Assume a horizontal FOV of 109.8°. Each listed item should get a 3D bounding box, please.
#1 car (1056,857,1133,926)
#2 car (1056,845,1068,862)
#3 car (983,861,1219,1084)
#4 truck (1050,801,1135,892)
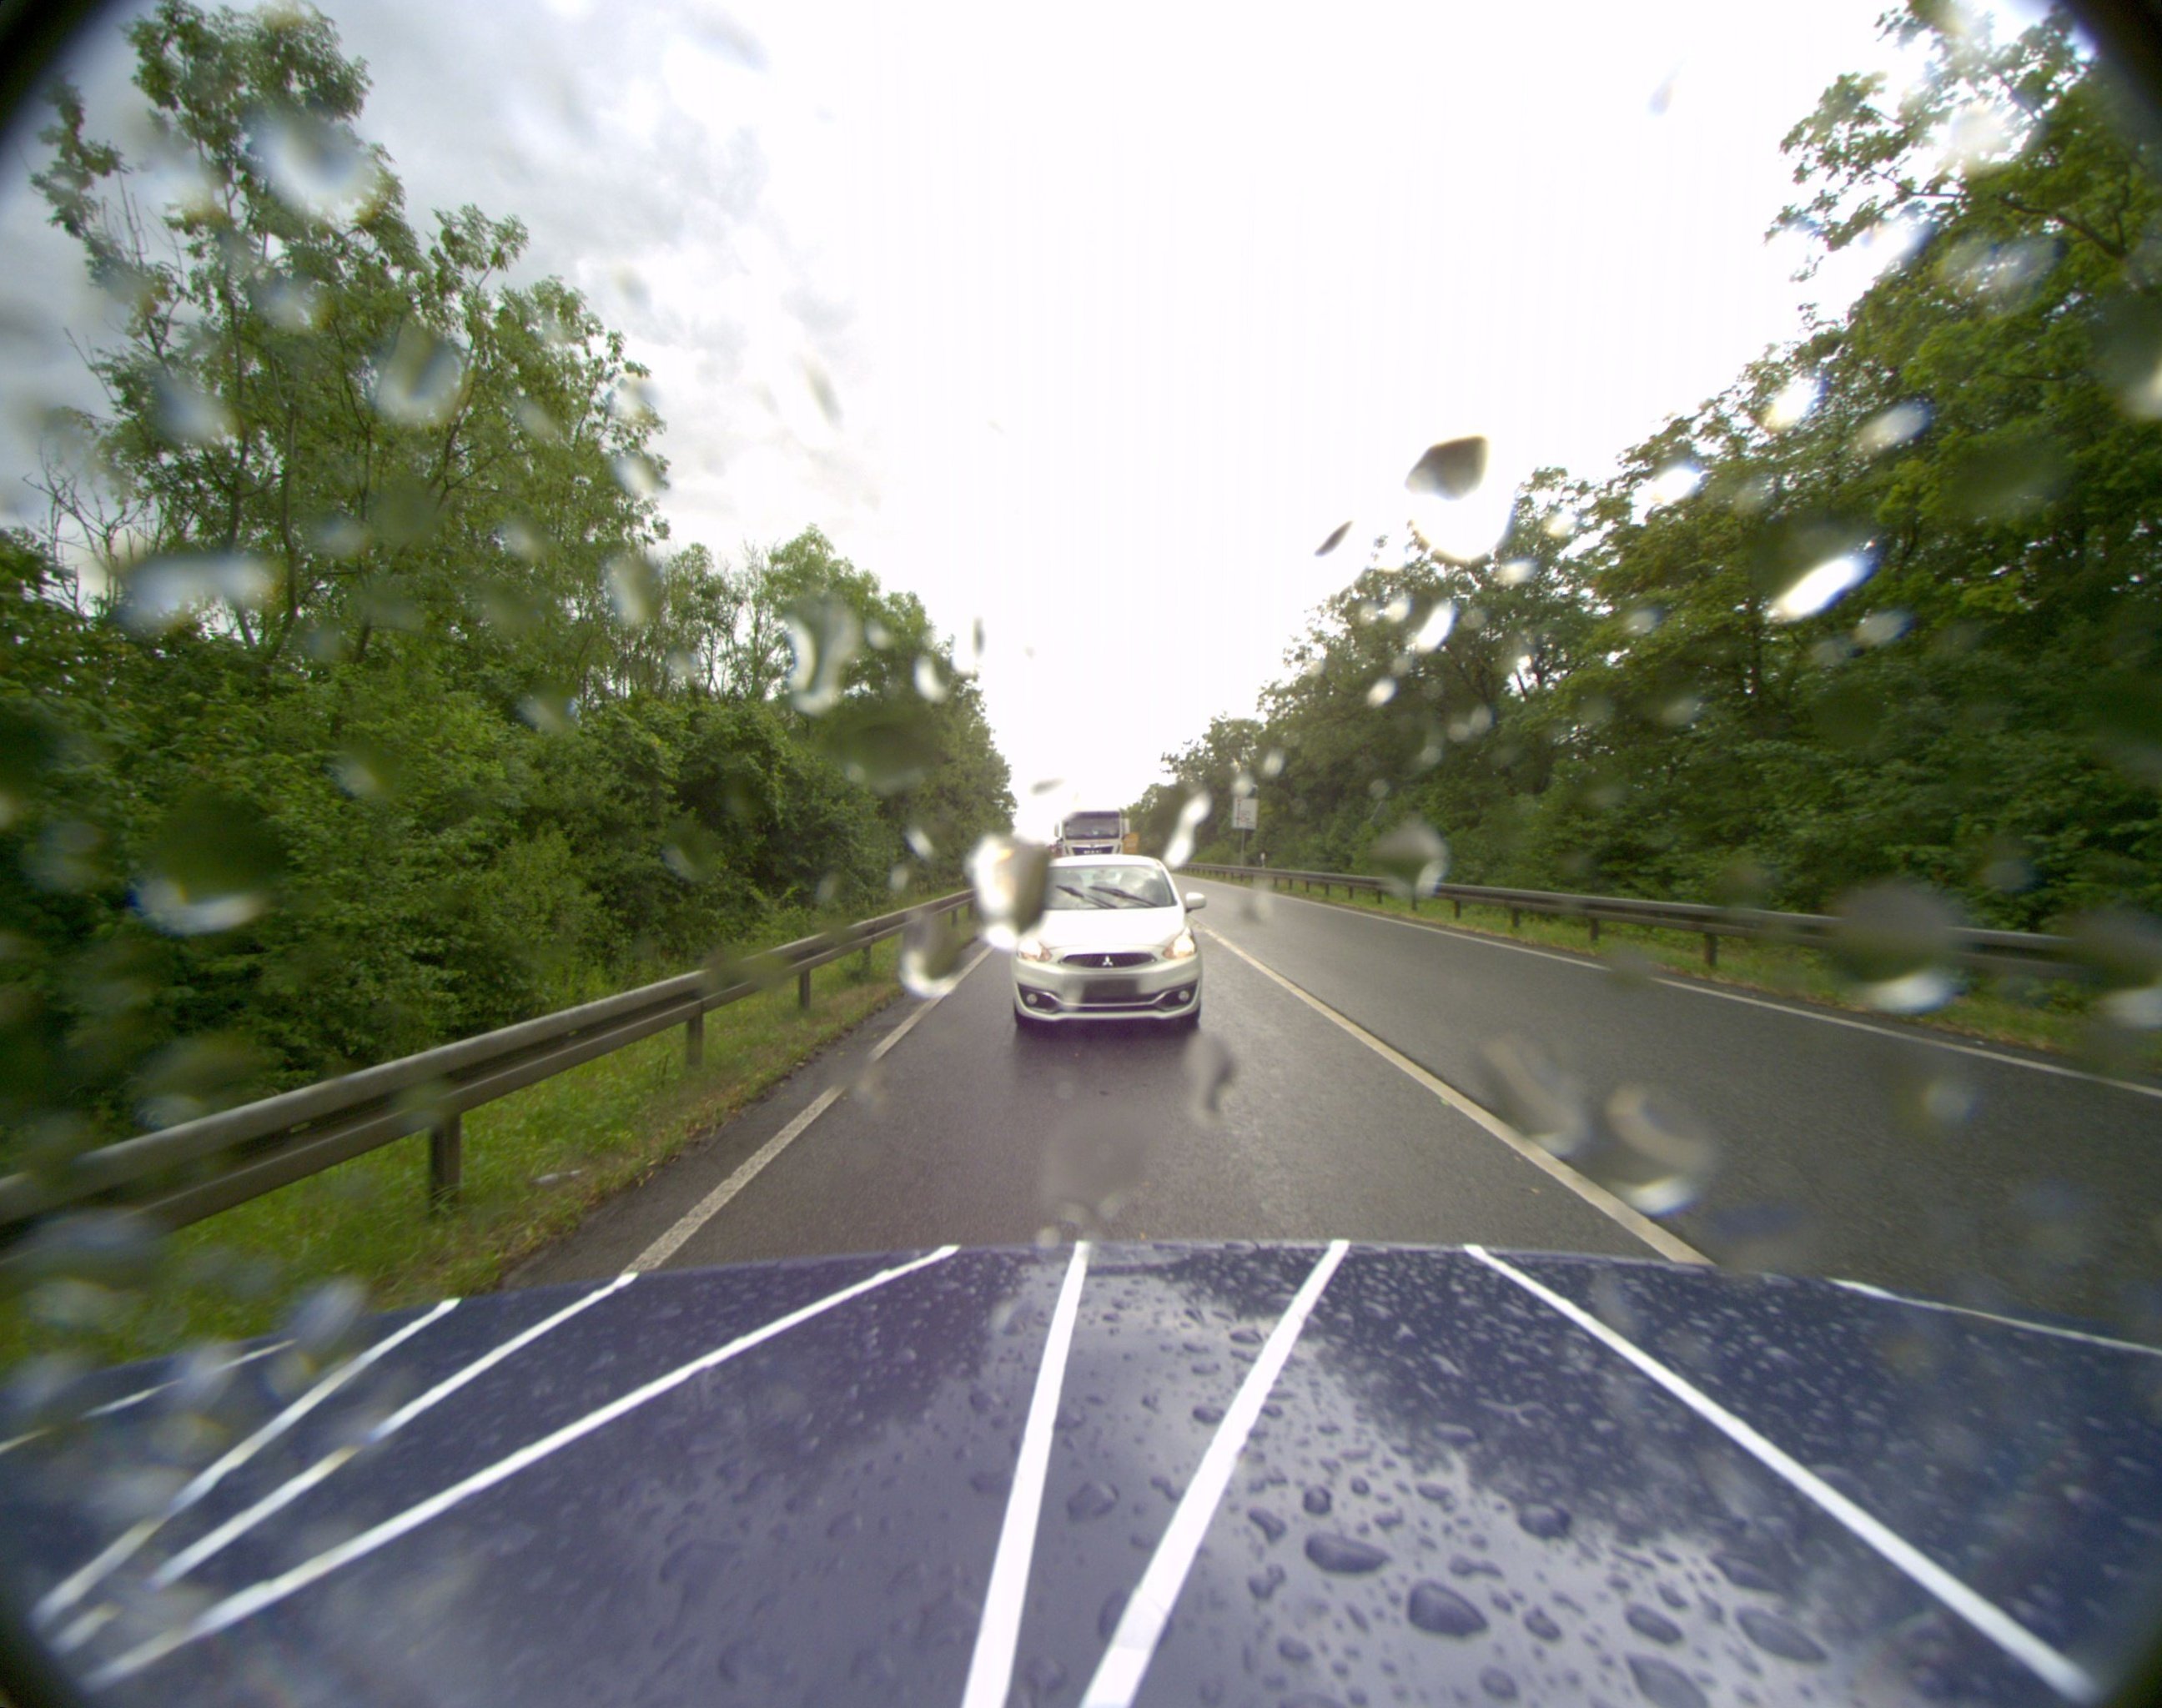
[{"bbox_3d":[0.340,0.833,18.812,1.640,1.413,4.492,-2,0,1],"label":"car"},{"bbox_3d":[-2.731,-0.046,111.798,1.613,2.422,3.999,-2,1,-1],"label":"car"},{"bbox_3d":[0.196,0.860,7.454,1.610,1.435,4.209,-2,1,2],"label":"car"},{"bbox_3d":[0.477,-0.372,33.711,3.136,3.364,9.282,-2,1,0],"label":"truck"}]
